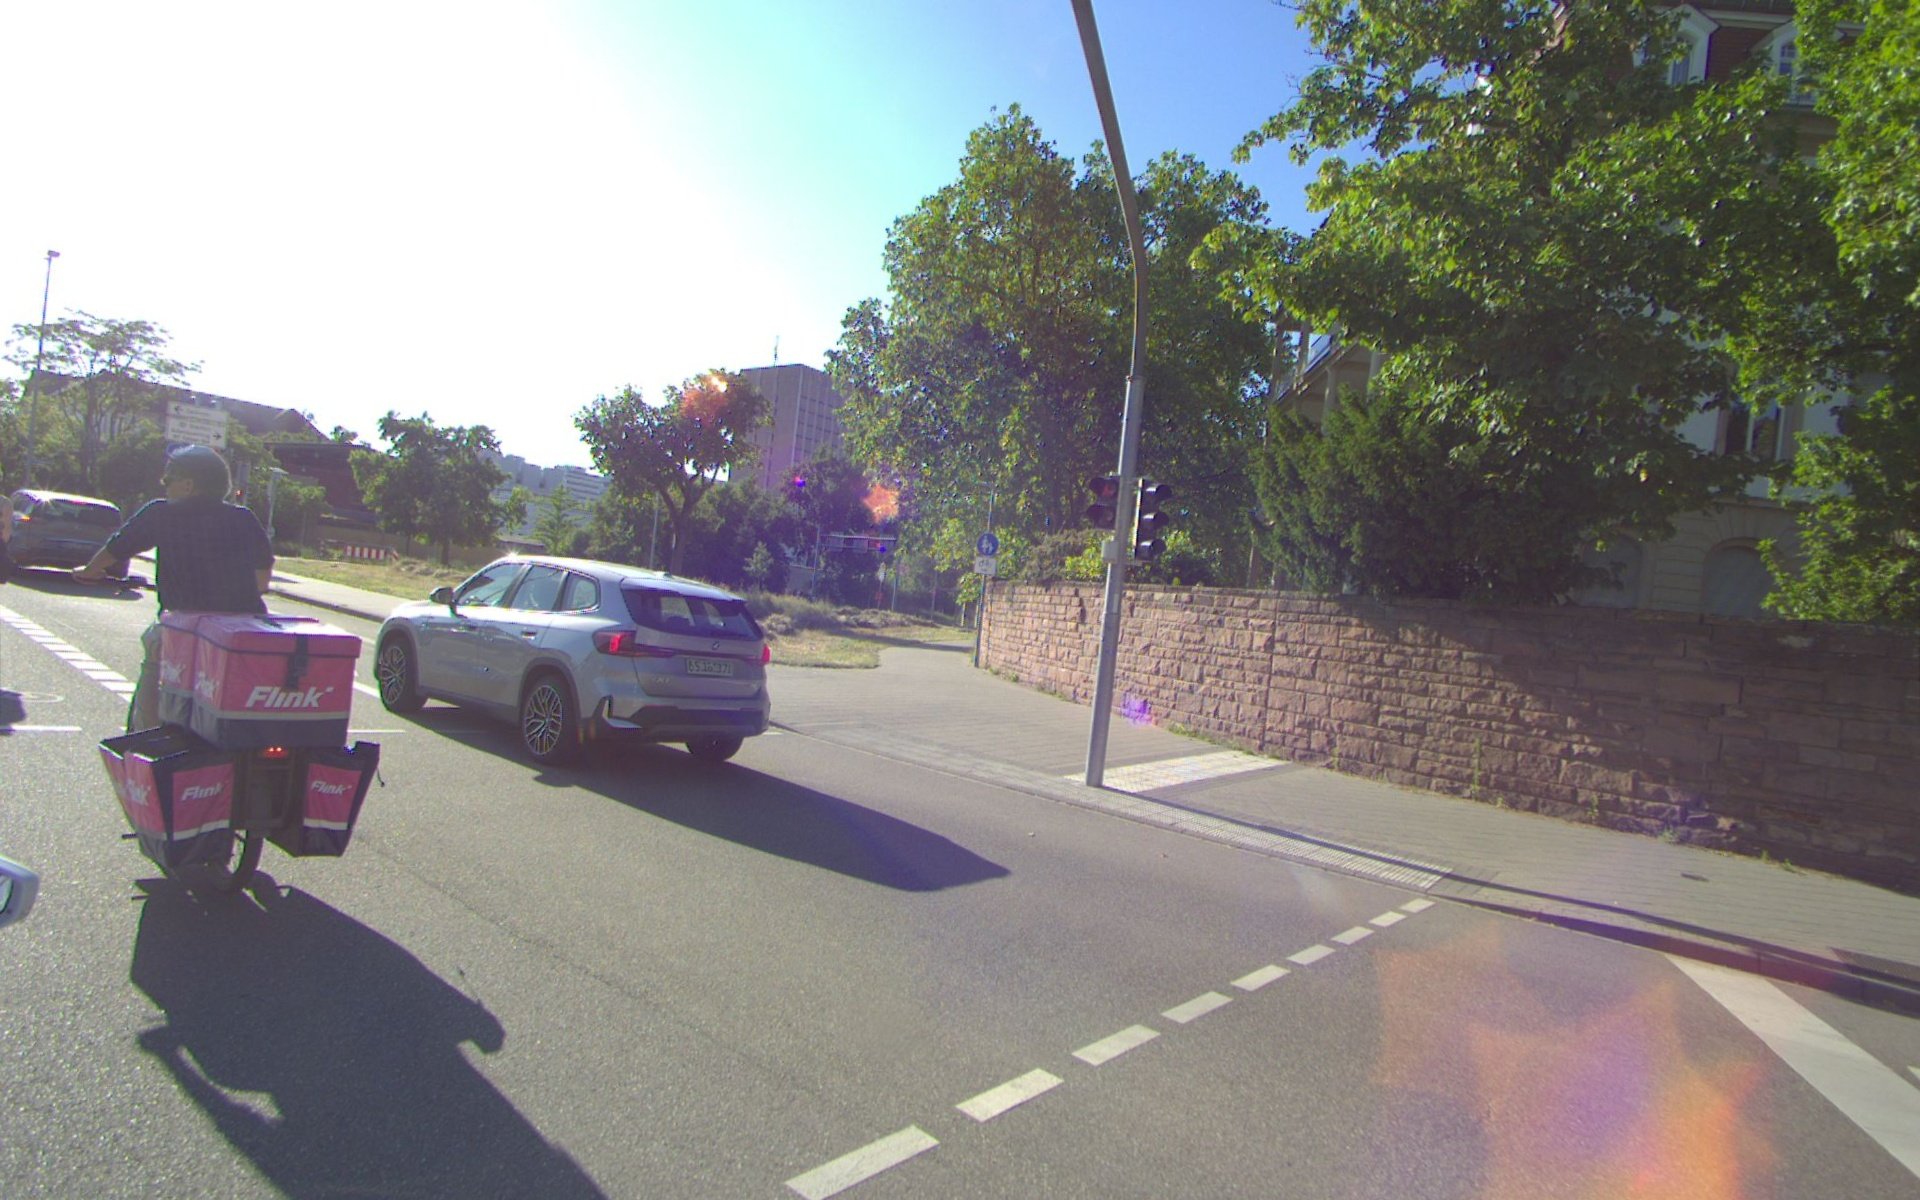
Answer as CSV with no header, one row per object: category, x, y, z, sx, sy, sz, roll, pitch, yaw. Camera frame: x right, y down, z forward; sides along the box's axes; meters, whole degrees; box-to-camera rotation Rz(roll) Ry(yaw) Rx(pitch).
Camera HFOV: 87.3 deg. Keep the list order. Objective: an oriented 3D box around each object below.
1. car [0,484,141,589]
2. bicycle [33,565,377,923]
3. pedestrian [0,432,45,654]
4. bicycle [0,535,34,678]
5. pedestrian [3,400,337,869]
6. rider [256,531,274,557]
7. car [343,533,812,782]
car,-18.472,-1.307,20.422,4.304,1.708,1.831,5,-3,38
bicycle,-3.511,0.520,4.566,2.337,1.185,0.554,5,-2,38
pedestrian,-8.687,-0.532,8.825,0.859,1.890,0.659,6,-2,37
bicycle,-8.790,-0.021,8.842,1.921,1.164,0.564,5,-2,38
pedestrian,-3.628,0.142,4.636,0.941,1.890,0.807,6,-2,36
rider,-46.301,-3.730,67.027,0.748,1.617,0.583,8,-2,-39
car,-3.582,0.417,9.115,4.262,1.612,1.788,6,-2,36
